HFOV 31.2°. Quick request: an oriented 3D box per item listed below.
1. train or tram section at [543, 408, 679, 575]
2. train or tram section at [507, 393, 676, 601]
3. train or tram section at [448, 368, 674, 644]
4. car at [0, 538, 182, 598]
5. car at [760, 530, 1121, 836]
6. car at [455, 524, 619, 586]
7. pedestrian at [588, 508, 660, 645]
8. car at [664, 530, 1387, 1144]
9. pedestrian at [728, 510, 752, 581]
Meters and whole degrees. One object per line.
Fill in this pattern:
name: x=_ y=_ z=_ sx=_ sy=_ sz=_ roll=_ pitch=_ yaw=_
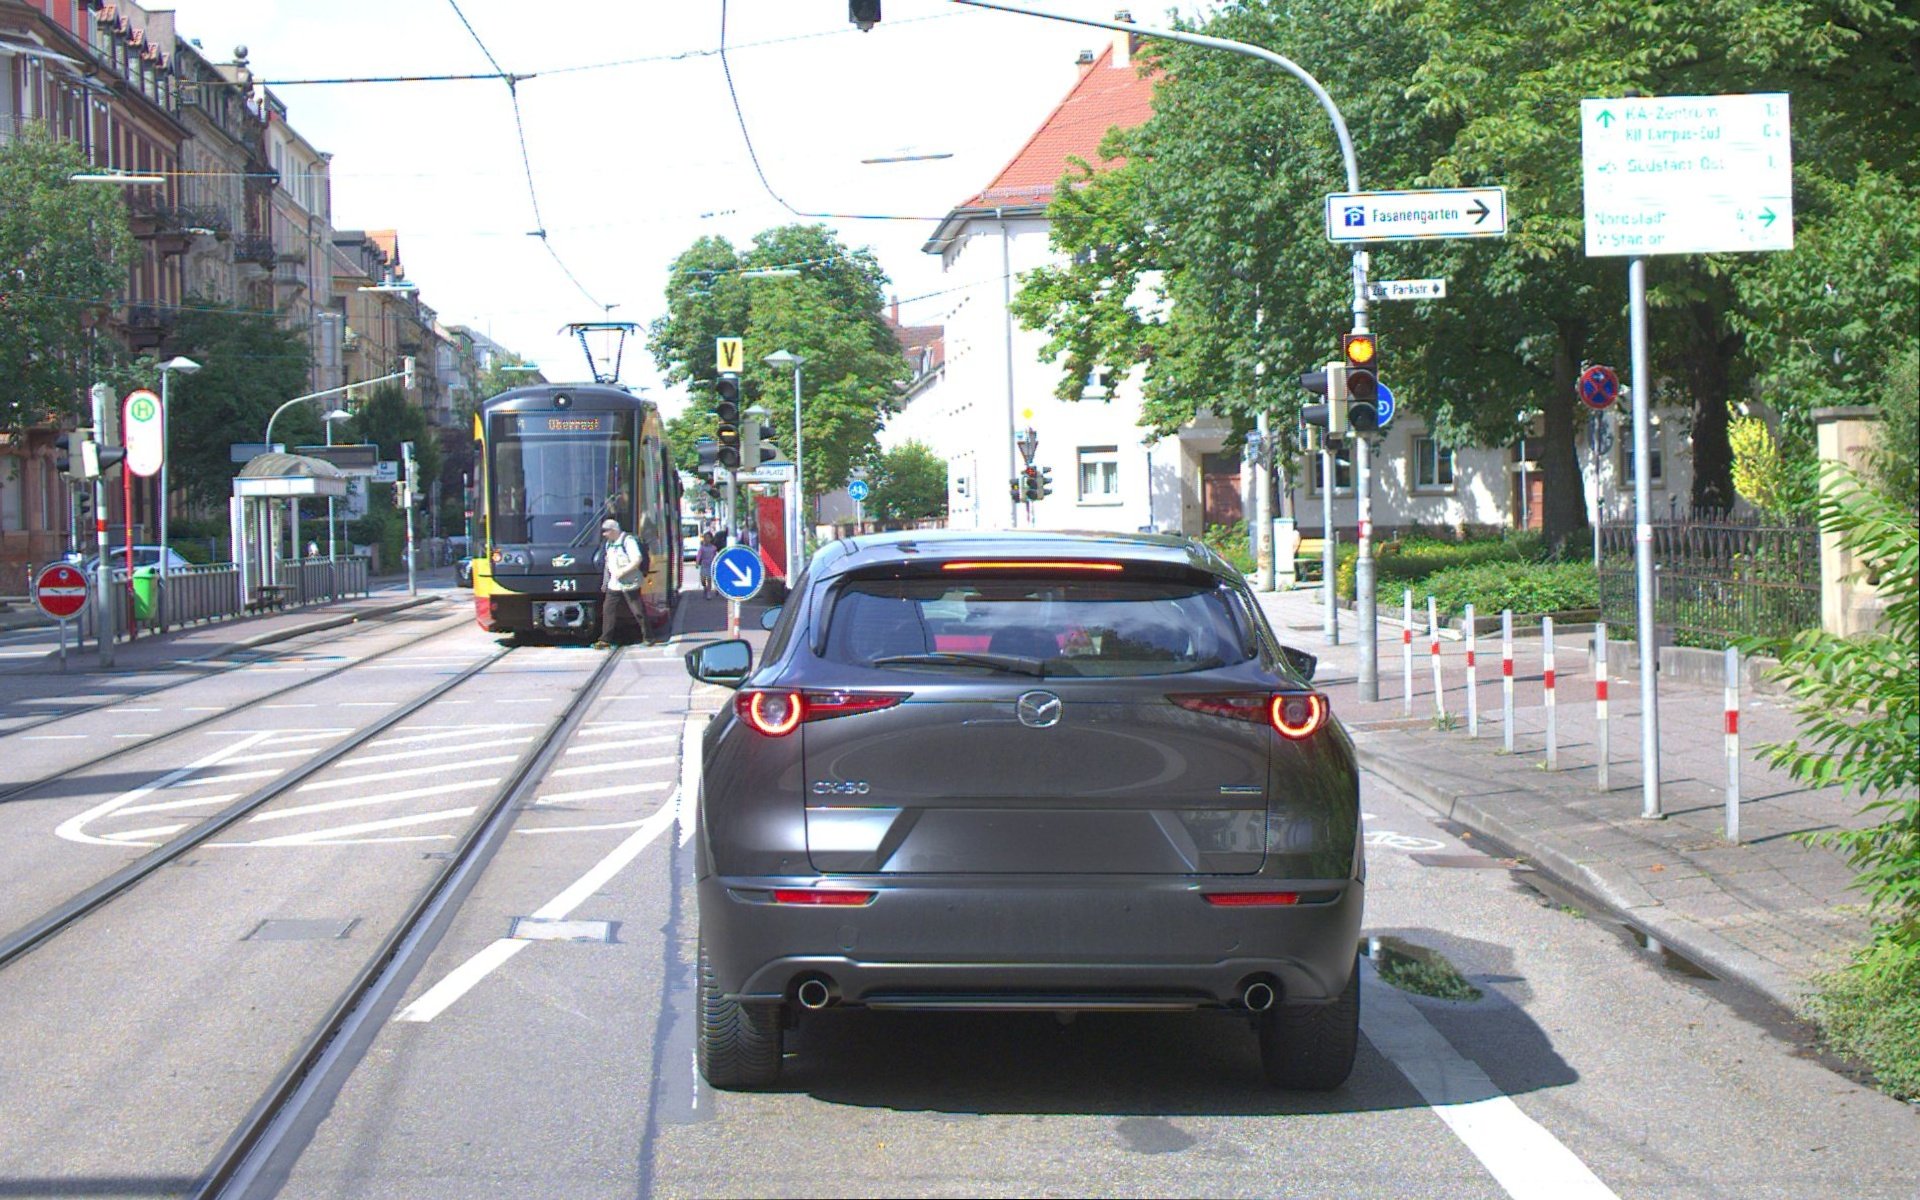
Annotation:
train or tram section: x=-7.985 y=-2.567 z=80.074 sx=2.752 sy=3.478 sz=14.411 roll=-1 pitch=2 yaw=-4
train or tram section: x=-6.863 y=-2.025 z=65.712 sx=2.752 sy=3.478 sz=14.411 roll=-1 pitch=2 yaw=-4
train or tram section: x=-5.719 y=-1.480 z=51.340 sx=2.752 sy=3.478 sz=14.411 roll=-1 pitch=2 yaw=-4
car: x=-21.126 y=-0.797 z=83.509 sx=3.987 sy=1.356 sz=1.678 roll=-2 pitch=1 yaw=-30
car: x=-0.130 y=0.375 z=19.166 sx=1.778 sy=1.494 sz=4.000 roll=1 pitch=1 yaw=-1
car: x=-10.913 y=-1.167 z=88.678 sx=3.986 sy=1.492 sz=1.679 roll=-1 pitch=1 yaw=-14
pedestrian: x=-4.272 y=-0.303 z=43.656 sx=0.716 sy=1.699 sz=0.824 roll=-1 pitch=1 yaw=-19
car: x=0.131 y=0.551 z=10.560 sx=1.778 sy=1.494 sz=4.000 roll=1 pitch=1 yaw=-1
pedestrian: x=-4.505 y=-1.119 z=70.328 sx=0.450 sy=1.429 sz=0.474 roll=-1 pitch=1 yaw=-5
